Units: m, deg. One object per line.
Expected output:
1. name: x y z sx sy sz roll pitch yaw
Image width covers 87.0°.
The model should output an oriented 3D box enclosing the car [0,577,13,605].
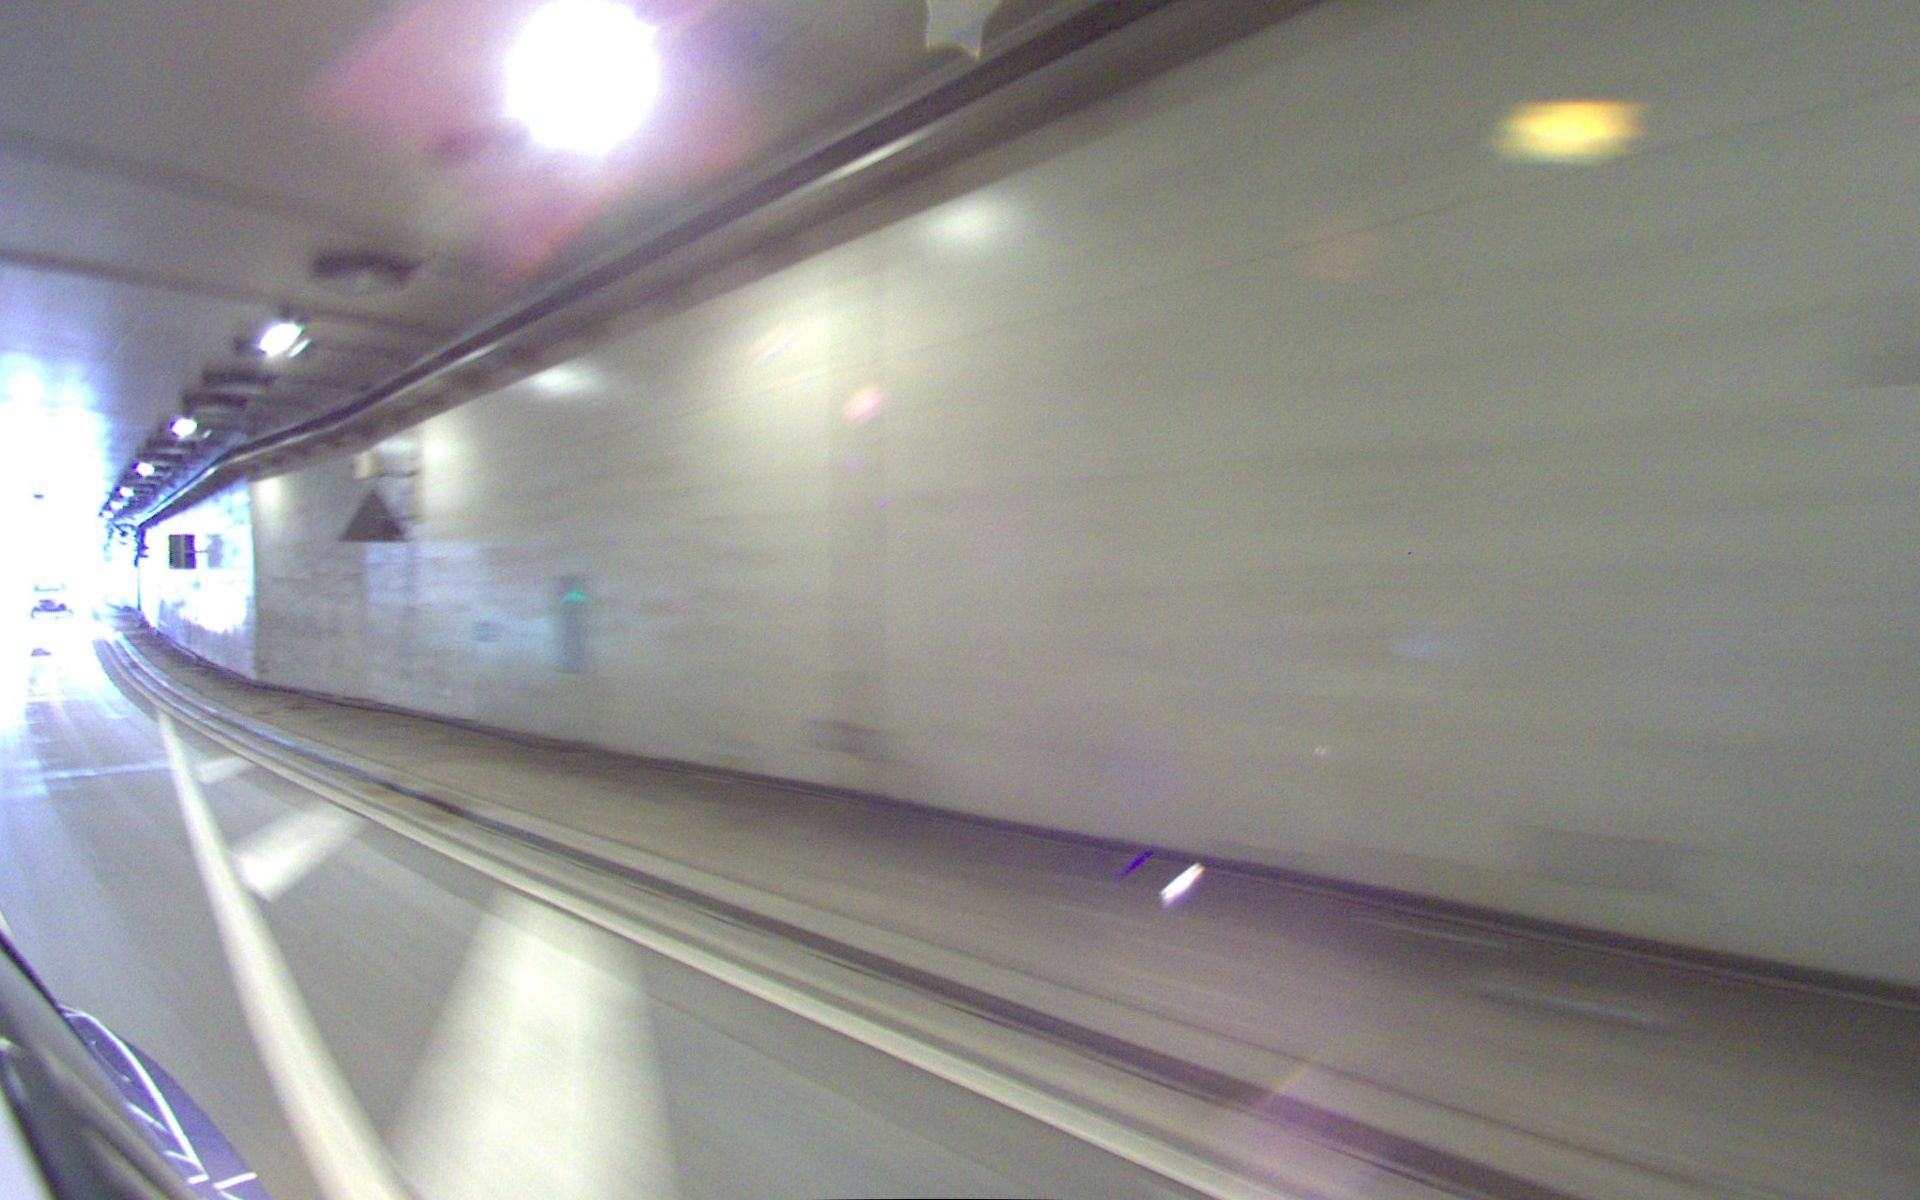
1. car: -66.927 -0.620 70.151 1.615 1.683 3.723 -4 6 -39

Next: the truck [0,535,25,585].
1. truck: -92.043 -3.907 96.793 2.843 4.504 10.477 -3 5 -38

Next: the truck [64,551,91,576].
1. truck: -101.870 -4.253 116.838 2.107 2.748 5.682 -4 6 -39

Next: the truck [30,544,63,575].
1. truck: -108.168 -4.880 119.851 2.457 3.412 6.389 -4 6 -39

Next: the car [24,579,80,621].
1. car: -47.009 -0.059 52.458 1.906 1.943 4.204 -4 4 -39
